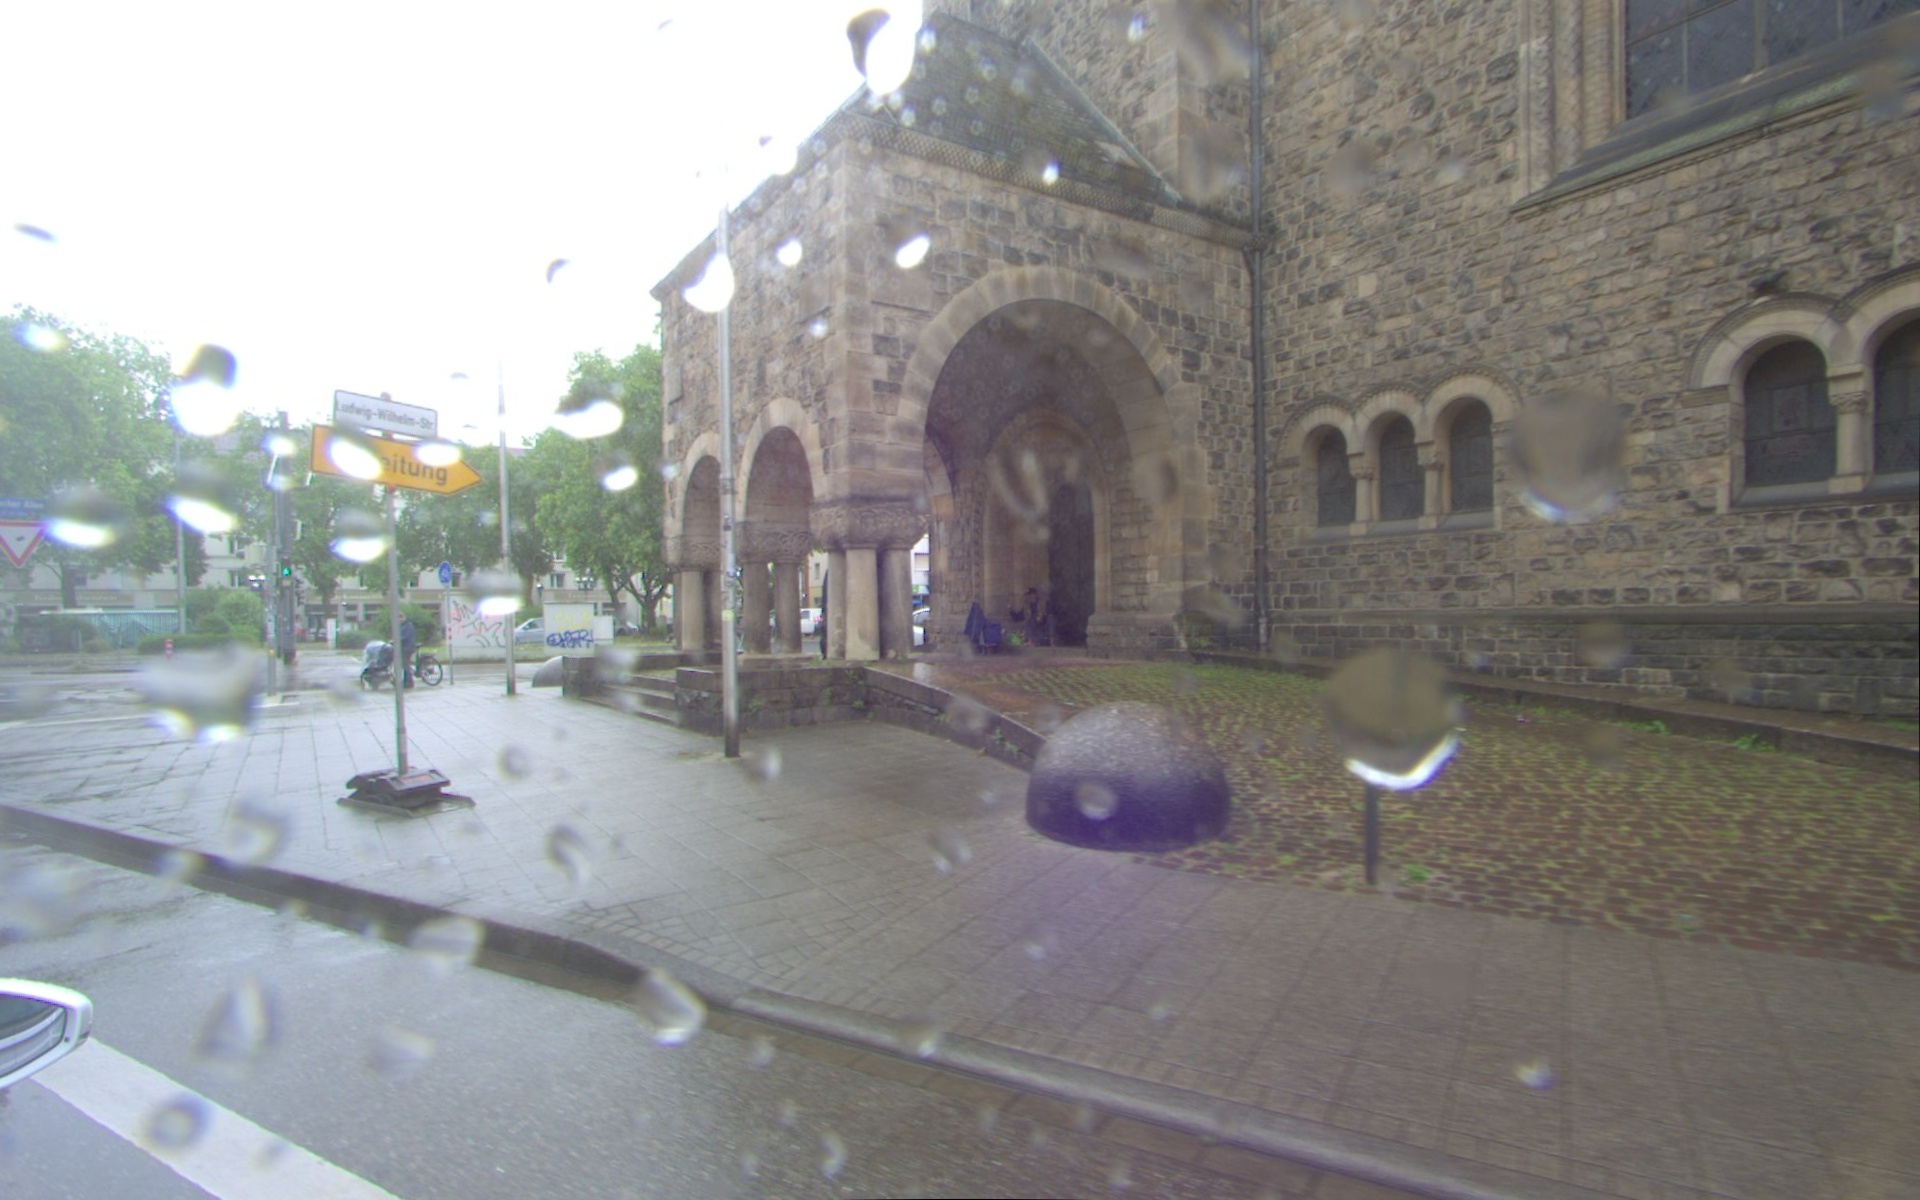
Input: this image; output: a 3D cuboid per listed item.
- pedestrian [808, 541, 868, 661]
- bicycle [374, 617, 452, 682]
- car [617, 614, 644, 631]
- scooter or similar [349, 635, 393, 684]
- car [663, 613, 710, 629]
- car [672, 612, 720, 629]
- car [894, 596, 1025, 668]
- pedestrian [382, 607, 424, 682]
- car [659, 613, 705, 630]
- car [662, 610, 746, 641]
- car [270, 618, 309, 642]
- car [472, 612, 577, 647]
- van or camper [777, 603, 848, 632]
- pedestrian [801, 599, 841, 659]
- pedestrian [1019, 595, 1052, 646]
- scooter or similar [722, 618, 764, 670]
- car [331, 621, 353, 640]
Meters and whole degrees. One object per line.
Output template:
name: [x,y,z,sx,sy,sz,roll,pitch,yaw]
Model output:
pedestrian: [-1.815,0.017,14.906,0.626,1.725,0.673,-1,0,-38]
bicycle: [-12.800,1.149,23.428,1.907,1.486,0.532,-1,0,23]
car: [-32.547,2.254,98.787,1.693,1.638,3.978,1,-2,-32]
scooter or similar: [-13.373,1.346,22.740,0.912,1.062,0.512,0,0,35]
car: [-25.533,1.946,93.526,3.945,1.471,1.667,-1,-1,-33]
car: [-24.136,1.860,91.486,3.945,1.471,1.667,-1,-1,-33]
car: [-0.077,0.829,24.841,1.712,1.593,3.343,0,-4,-31]
pedestrian: [-12.797,1.011,22.993,0.680,1.685,0.601,0,1,35]
car: [-26.584,2.053,95.749,3.945,1.471,1.667,-1,-1,-33]
car: [-13.989,1.381,54.796,4.125,1.621,1.766,0,0,-35]
car: [-44.709,2.019,66.742,1.651,1.541,3.645,-1,-1,-42]
car: [-21.487,1.444,49.425,4.497,1.621,1.780,0,0,-35]
van or camper: [-10.418,1.235,70.967,4.615,1.940,1.985,0,0,-38]
pedestrian: [-2.117,0.442,15.254,0.451,0.896,0.393,-1,0,-38]
pedestrian: [1.351,0.366,18.036,0.391,0.896,0.453,-1,0,-35]
scooter or similar: [-6.037,1.217,27.869,1.090,1.405,0.284,0,0,-36]
car: [-52.583,2.575,85.201,1.533,1.485,3.349,-1,-3,-33]
